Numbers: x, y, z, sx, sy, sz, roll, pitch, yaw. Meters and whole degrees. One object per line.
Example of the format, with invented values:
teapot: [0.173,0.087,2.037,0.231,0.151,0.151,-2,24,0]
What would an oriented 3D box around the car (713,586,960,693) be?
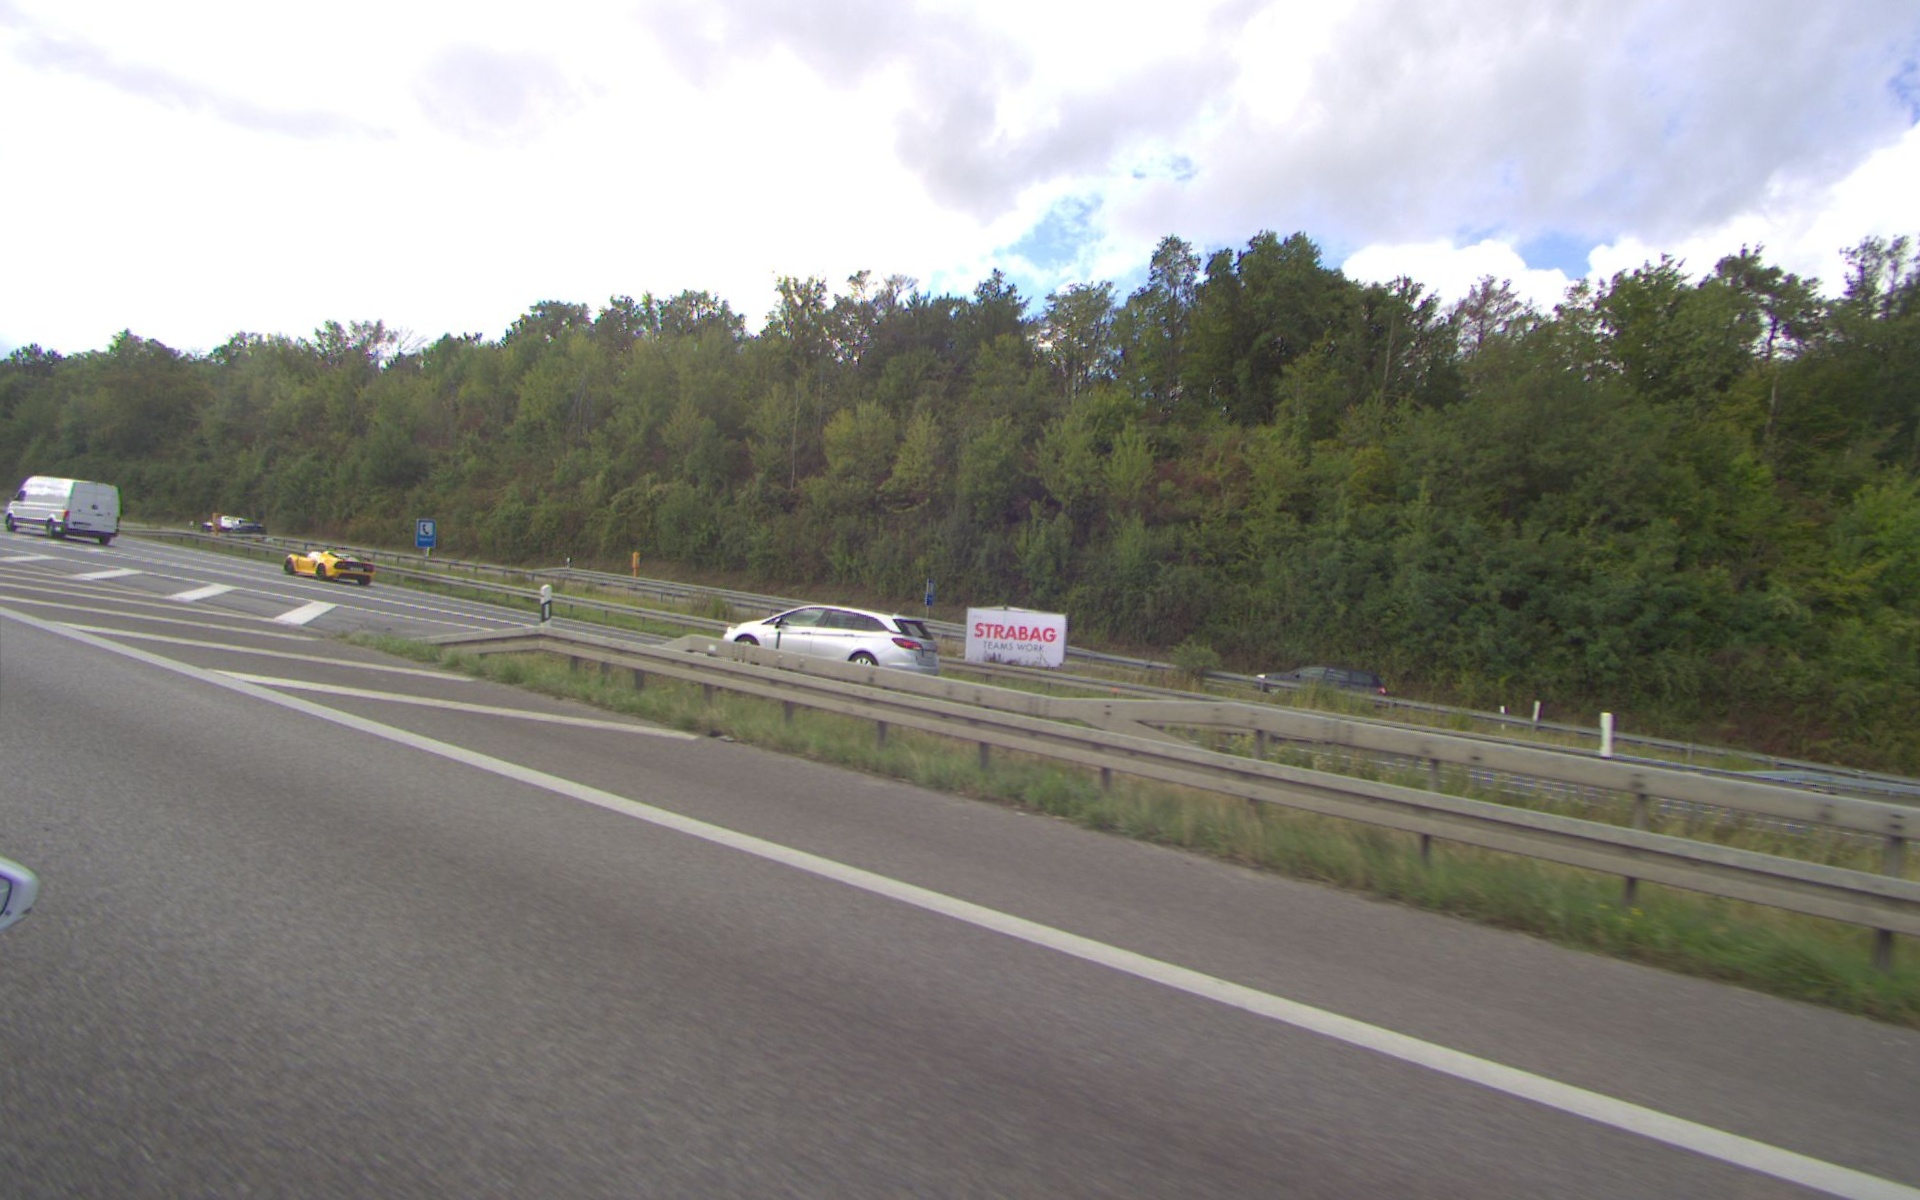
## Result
car: [-2.475,0.764,20.087,4.531,1.503,1.689,7,-1,22]

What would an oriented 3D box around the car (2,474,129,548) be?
car: [-39.372,-3.940,44.217,6.628,2.586,2.073,7,1,30]

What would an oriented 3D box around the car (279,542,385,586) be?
car: [-24.335,-1.410,38.956,4.099,1.196,1.715,7,-1,31]

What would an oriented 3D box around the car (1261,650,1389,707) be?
car: [13.095,2.781,36.171,4.091,1.433,1.717,7,0,21]

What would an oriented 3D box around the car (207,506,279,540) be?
car: [-45.127,-4.850,63.283,4.684,1.623,1.844,7,2,30]
